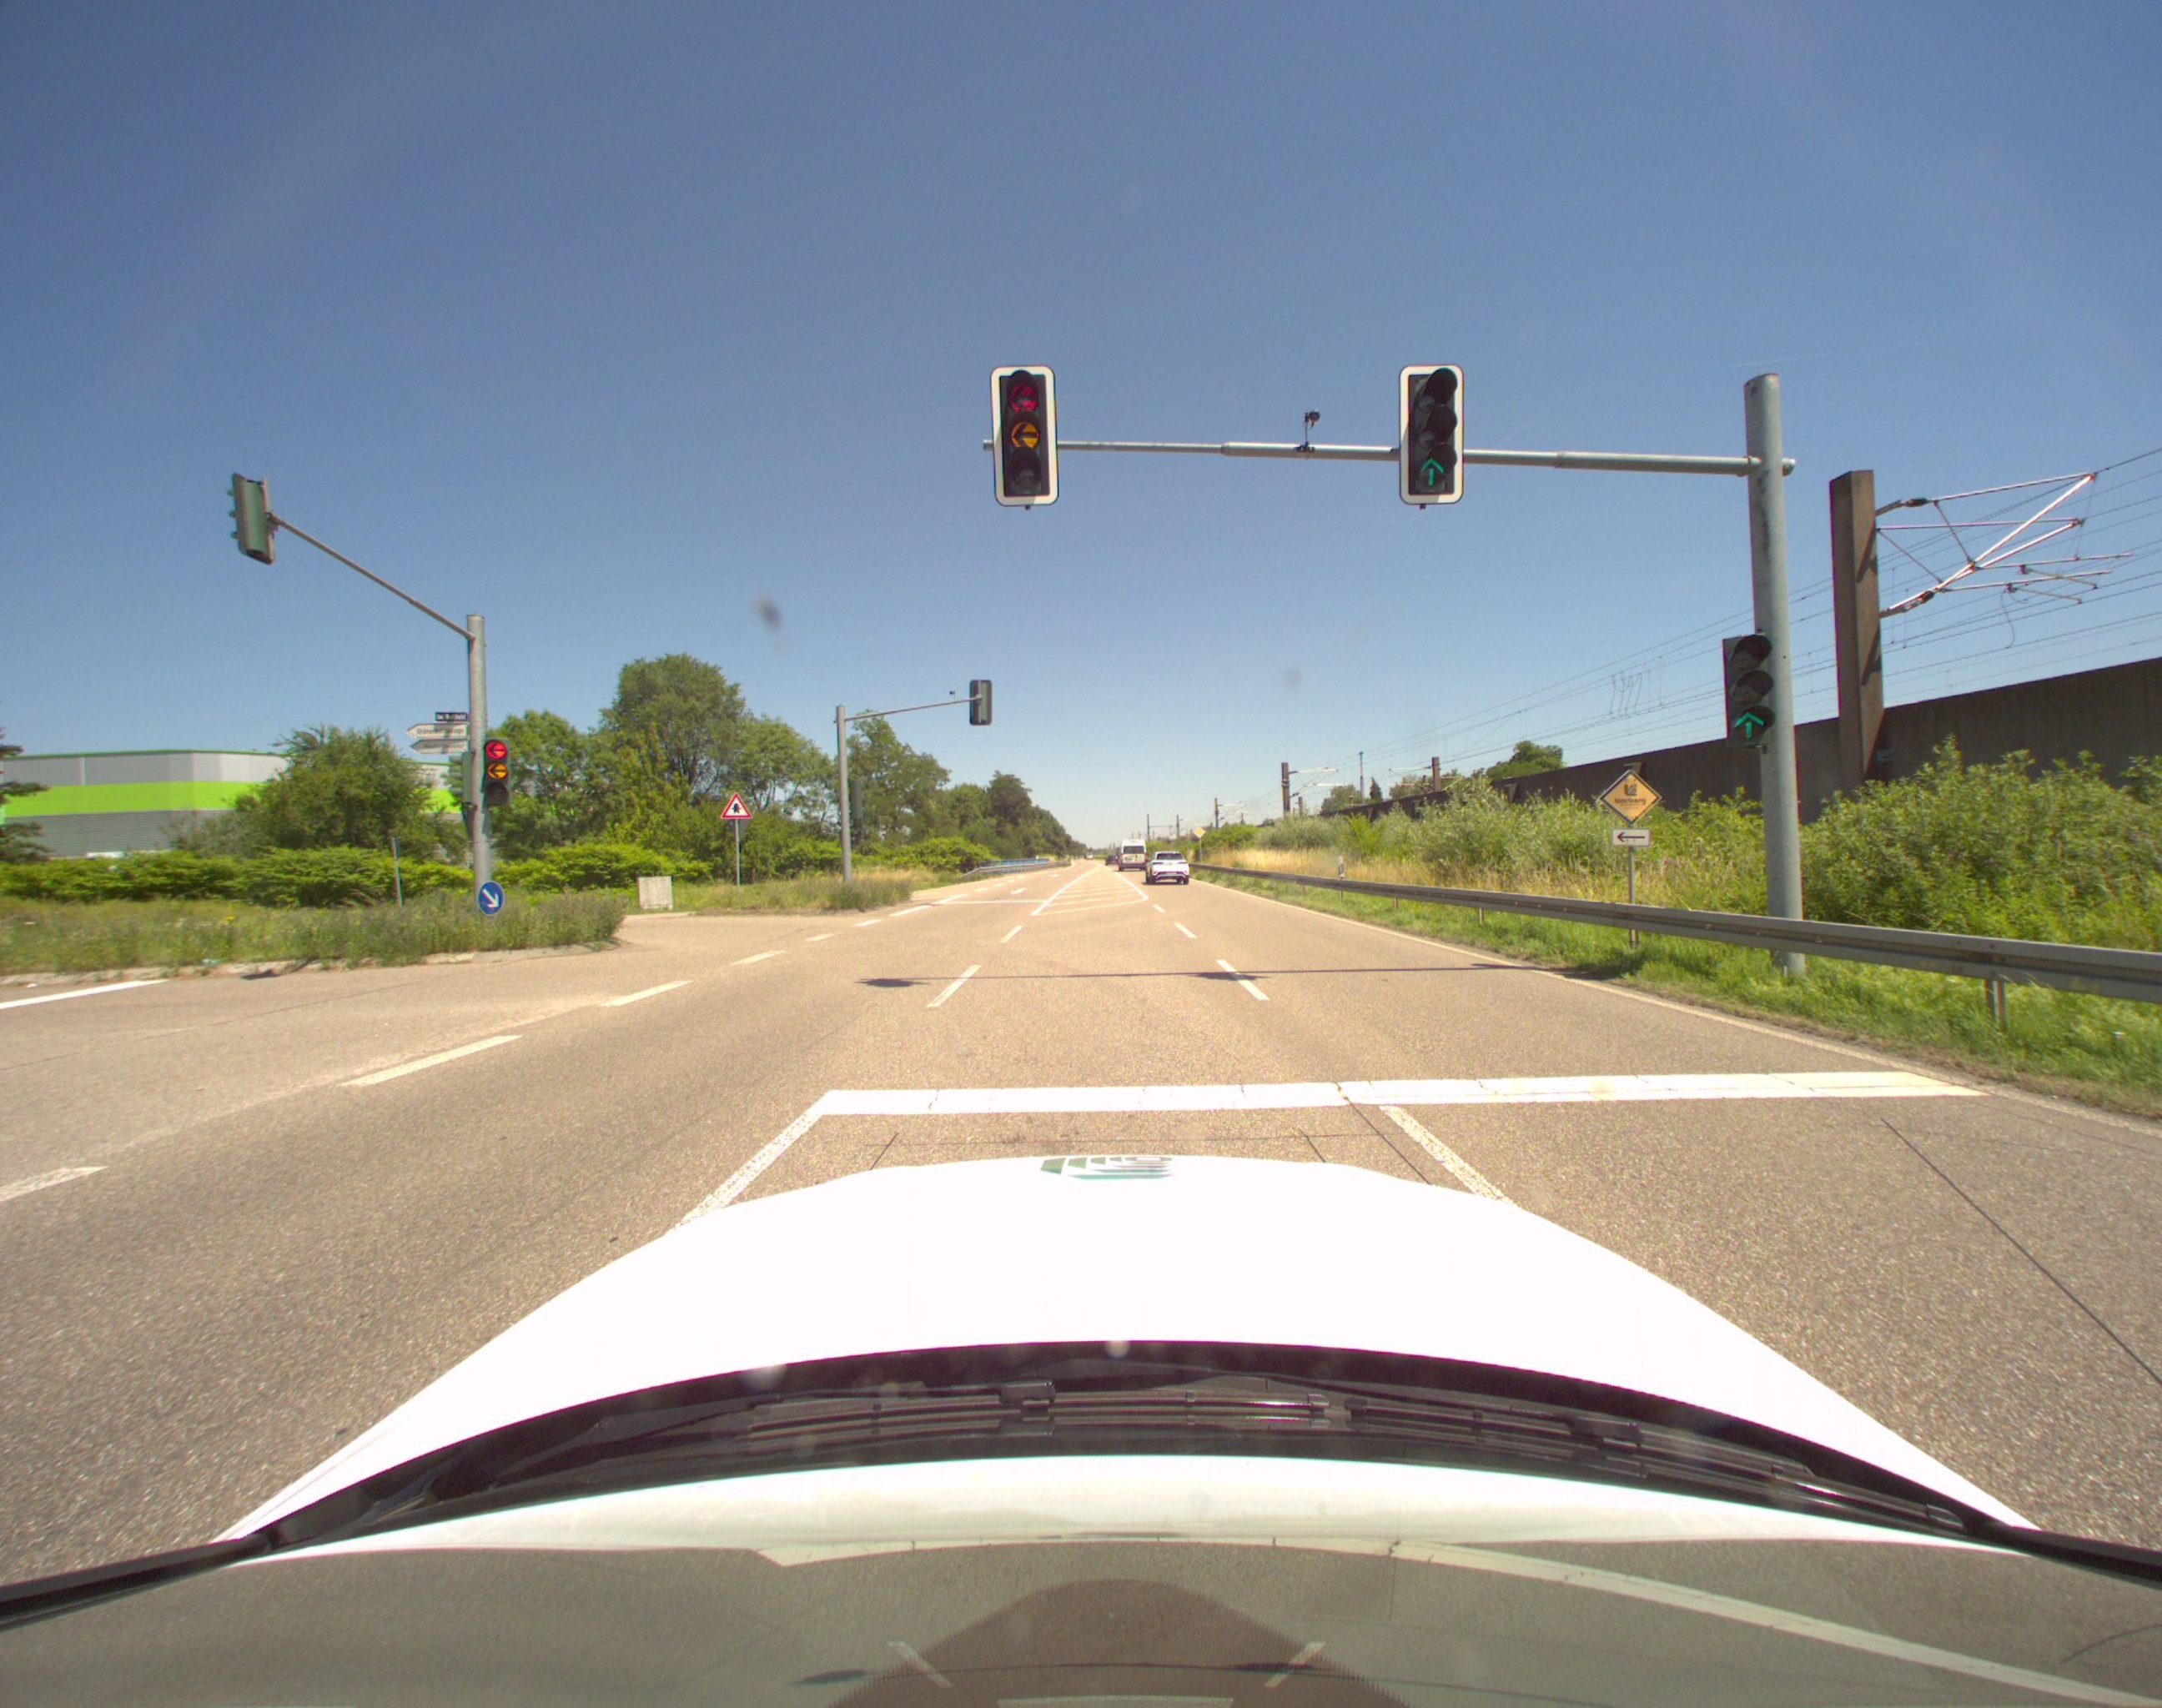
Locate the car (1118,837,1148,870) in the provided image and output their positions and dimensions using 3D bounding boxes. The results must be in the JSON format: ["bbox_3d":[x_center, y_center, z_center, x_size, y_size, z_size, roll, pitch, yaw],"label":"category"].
[{"bbox_3d":[4.296,-0.080,67.950,2.180,2.604,6.752,-1,0,1],"label":"car"}]

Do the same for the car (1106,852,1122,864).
[{"bbox_3d":[4.125,0.487,102.495,1.850,1.379,4.504,-1,0,1],"label":"car"}]

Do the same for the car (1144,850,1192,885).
[{"bbox_3d":[4.109,0.601,39.072,1.812,1.564,4.277,-1,0,-1],"label":"car"}]

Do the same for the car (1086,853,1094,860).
[{"bbox_3d":[2.591,0.615,234.581,1.987,1.983,4.059,-1,0,0],"label":"car"}]
